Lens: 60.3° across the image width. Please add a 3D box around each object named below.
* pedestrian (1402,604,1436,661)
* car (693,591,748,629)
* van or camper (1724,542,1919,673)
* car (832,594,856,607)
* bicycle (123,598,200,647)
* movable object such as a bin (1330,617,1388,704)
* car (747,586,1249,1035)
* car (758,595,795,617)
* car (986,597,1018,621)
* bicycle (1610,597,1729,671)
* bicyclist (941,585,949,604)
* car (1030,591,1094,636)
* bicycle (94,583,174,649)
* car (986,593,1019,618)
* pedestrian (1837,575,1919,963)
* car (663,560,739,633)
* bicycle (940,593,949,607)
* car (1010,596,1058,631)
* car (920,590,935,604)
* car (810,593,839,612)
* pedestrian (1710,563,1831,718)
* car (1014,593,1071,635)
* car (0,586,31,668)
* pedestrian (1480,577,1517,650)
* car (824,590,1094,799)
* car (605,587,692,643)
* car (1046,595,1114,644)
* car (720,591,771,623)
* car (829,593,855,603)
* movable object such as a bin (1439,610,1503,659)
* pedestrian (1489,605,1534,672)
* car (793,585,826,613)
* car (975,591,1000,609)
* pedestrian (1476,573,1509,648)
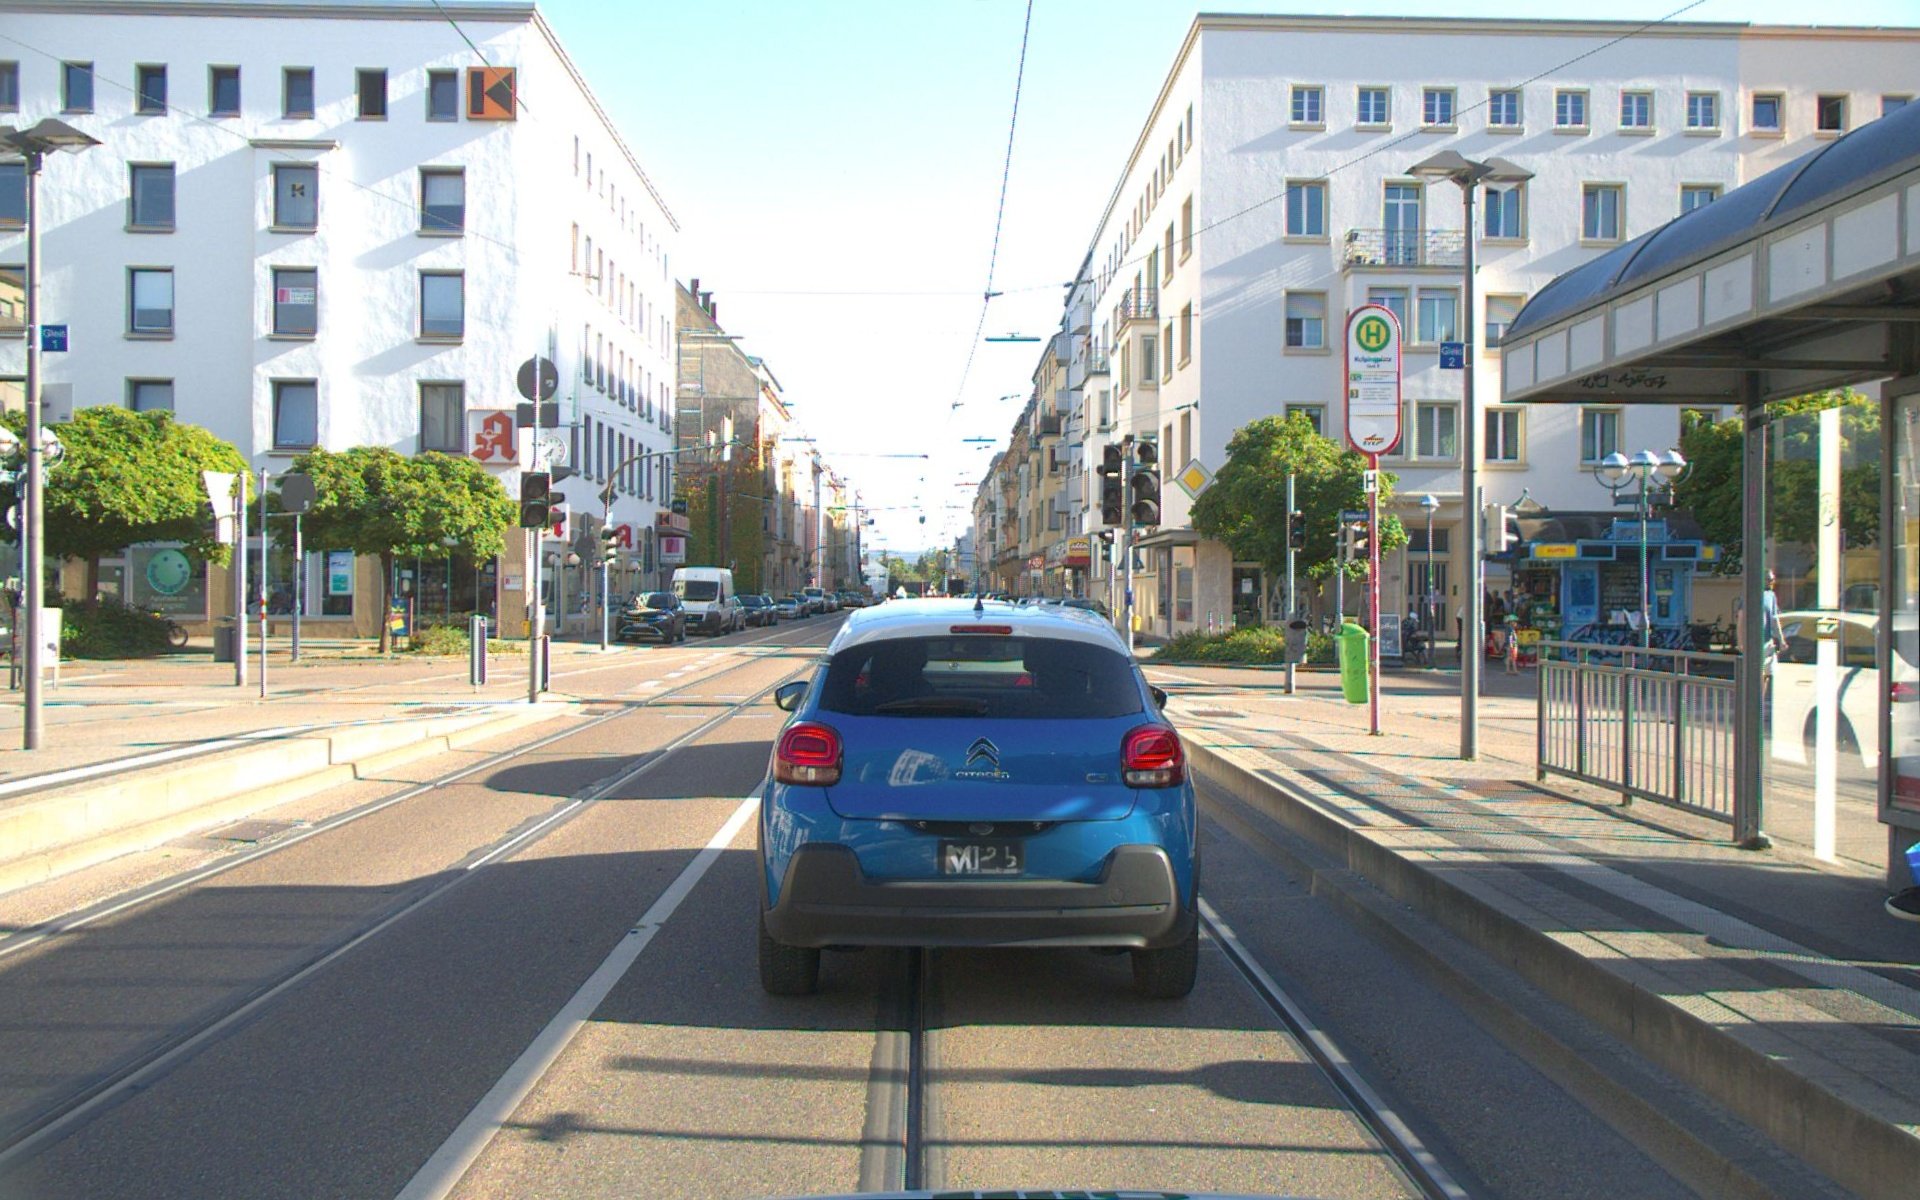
[{"bbox_3d":[10.885,0.758,39.220,0.725,1.339,0.628,0,0,22],"label":"pedestrian"},{"bbox_3d":[-10.052,0.438,69.570,1.850,1.522,3.560,1,0,-2],"label":"car"},{"bbox_3d":[20.983,0.133,36.693,6.976,2.795,2.371,0,1,0],"label":"van or camper"},{"bbox_3d":[-10.771,0.051,153.993,1.953,1.176,4.000,0,0,0],"label":"car"},{"bbox_3d":[-20.623,0.561,42.772,0.605,1.211,2.621,0,0,2],"label":"bicycle"},{"bbox_3d":[3.738,0.561,15.528,0.439,0.800,0.489,0,0,2],"label":"movable object such as a bin"},{"bbox_3d":[0.101,0.718,7.571,1.693,1.508,3.826,1,0,-1],"label":"car"},{"bbox_3d":[-11.429,0.373,102.990,1.953,1.348,3.921,1,0,-2],"label":"car"},{"bbox_3d":[2.669,0.550,106.496,1.952,1.489,4.000,0,0,0],"label":"car"},{"bbox_3d":[15.892,0.761,37.085,2.336,1.558,0.726,2,0,-2],"label":"bicycle"},{"bbox_3d":[-1.635,-0.606,176.340,0.793,2.049,0.922,1,-1,-3],"label":"bicyclist"},{"bbox_3d":[3.504,0.448,57.476,1.953,1.489,4.000,0,0,0],"label":"car"},{"bbox_3d":[-21.333,0.402,42.785,0.605,1.635,2.621,0,0,3],"label":"bicycle"},{"bbox_3d":[2.594,0.306,102.031,1.953,1.489,4.504,0,0,0],"label":"car"},{"bbox_3d":[3.593,0.569,5.344,0.978,1.246,0.923,3,-1,-1],"label":"pedestrian"},{"bbox_3d":[-9.733,-0.128,62.618,2.043,2.586,6.203,1,0,-2],"label":"car"},{"bbox_3d":[-1.636,-0.026,176.478,0.901,1.413,3.131,0,0,-1],"label":"bicycle"},{"bbox_3d":[3.240,0.589,73.201,1.953,1.489,4.000,0,0,0],"label":"car"},{"bbox_3d":[-4.375,-0.413,222.816,1.953,1.803,3.999,0,0,-1],"label":"car"},{"bbox_3d":[-11.183,0.217,136.909,1.914,1.579,3.939,1,0,1],"label":"car"},{"bbox_3d":[10.311,0.511,21.078,0.961,1.910,1.128,0,-1,-3],"label":"pedestrian"},{"bbox_3d":[3.092,0.522,62.912,1.953,1.527,4.000,0,0,0],"label":"car"},{"bbox_3d":[-22.385,0.569,35.424,3.906,1.736,1.825,0,0,-2],"label":"car"},{"bbox_3d":[13.881,0.352,42.651,0.768,1.871,0.678,0,0,2],"label":"pedestrian"},{"bbox_3d":[-0.048,0.686,14.486,1.944,1.490,4.814,1,0,-1],"label":"car"},{"bbox_3d":[-9.788,0.466,52.255,1.953,1.596,4.401,3,0,-2],"label":"car"},{"bbox_3d":[3.760,0.582,52.454,1.870,1.489,4.000,0,0,0],"label":"car"},{"bbox_3d":[-10.097,0.342,77.979,1.953,1.422,4.155,1,0,-2],"label":"car"},{"bbox_3d":[-13.183,-0.240,184.624,1.951,1.176,4.518,0,0,8],"label":"car"},{"bbox_3d":[12.479,0.829,40.424,1.174,1.173,1.217,0,0,0],"label":"movable object such as a bin"},{"bbox_3d":[12.248,0.842,36.740,0.715,1.434,0.755,0,3,-1],"label":"pedestrian"},{"bbox_3d":[-11.487,-0.055,126.477,1.965,2.049,4.690,1,0,1],"label":"car"},{"bbox_3d":[2.187,-0.004,133.206,1.953,1.489,4.000,0,0,0],"label":"car"},{"bbox_3d":[13.416,0.273,41.667,0.639,1.871,0.659,0,0,2],"label":"pedestrian"}]
